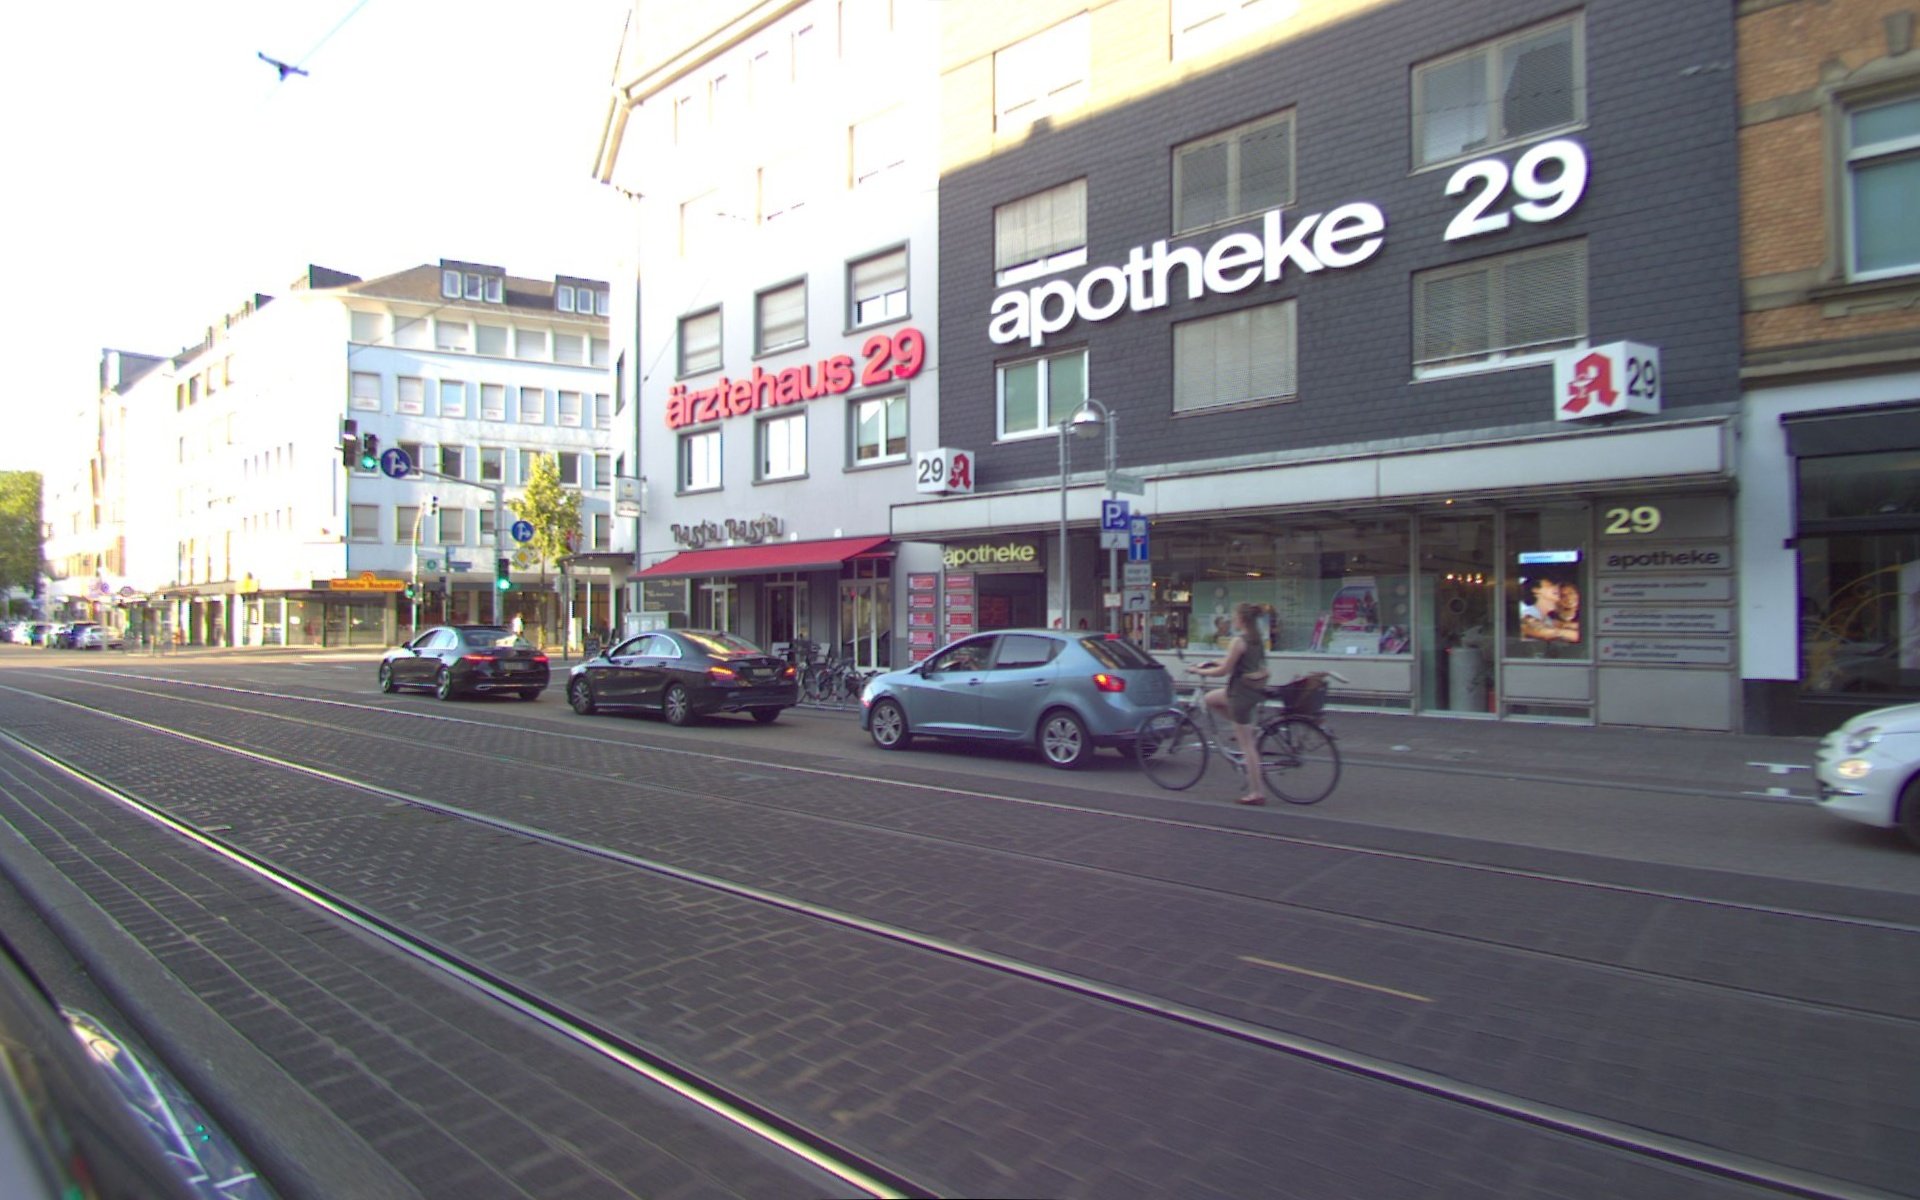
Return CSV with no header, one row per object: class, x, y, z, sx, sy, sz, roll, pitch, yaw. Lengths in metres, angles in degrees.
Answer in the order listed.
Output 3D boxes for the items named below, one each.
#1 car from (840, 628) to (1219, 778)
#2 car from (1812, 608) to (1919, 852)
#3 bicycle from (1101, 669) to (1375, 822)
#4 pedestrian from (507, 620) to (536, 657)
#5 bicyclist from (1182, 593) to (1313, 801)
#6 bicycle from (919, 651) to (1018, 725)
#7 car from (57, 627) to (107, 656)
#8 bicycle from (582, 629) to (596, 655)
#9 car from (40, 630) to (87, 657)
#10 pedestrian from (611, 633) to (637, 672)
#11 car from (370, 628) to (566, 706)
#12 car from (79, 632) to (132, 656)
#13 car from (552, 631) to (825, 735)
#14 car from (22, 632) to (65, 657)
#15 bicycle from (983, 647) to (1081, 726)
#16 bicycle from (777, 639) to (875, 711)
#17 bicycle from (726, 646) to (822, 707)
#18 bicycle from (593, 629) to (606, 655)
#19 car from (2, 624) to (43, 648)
car,0.664,1.049,11.458,4.059,1.397,1.740,-2,-4,41
car,7.551,0.827,6.076,3.677,1.517,1.650,-1,-4,40
bicycle,2.242,1.131,8.353,2.079,1.042,0.686,-1,-2,39
pedestrian,-20.779,1.818,47.965,0.980,1.739,0.806,0,0,2
bicyclist,2.328,0.744,8.192,0.798,1.577,0.686,-2,-2,39
bicycle,0.161,1.379,16.263,0.492,0.991,1.837,-1,1,40
car,-51.612,2.397,59.463,4.000,1.647,1.823,-2,-2,43
bicycle,-17.508,1.978,47.731,0.462,1.213,1.925,0,-2,-24
car,-56.657,2.727,63.950,4.000,1.647,1.823,-2,-2,43
pedestrian,-16.740,2.598,50.465,0.980,1.901,0.806,0,0,2
car,-9.980,1.292,20.367,4.561,1.397,1.895,-2,-4,41
car,-48.024,2.461,56.863,4.000,1.304,1.823,-2,-2,43
car,-4.357,1.220,15.876,4.561,1.397,1.895,-2,-4,41
car,-62.430,3.008,68.917,4.000,1.647,1.823,-2,-2,43
bicycle,1.122,1.288,15.434,0.462,0.991,1.837,-1,1,40
bicycle,-2.442,1.357,18.675,0.607,1.143,1.837,-1,1,40
bicycle,-3.567,1.456,19.540,0.607,0.991,1.837,-1,1,40
bicycle,-17.135,1.995,48.077,0.462,1.213,1.925,0,-2,-24
car,-66.814,2.565,72.121,4.000,1.647,1.823,-2,-2,43
